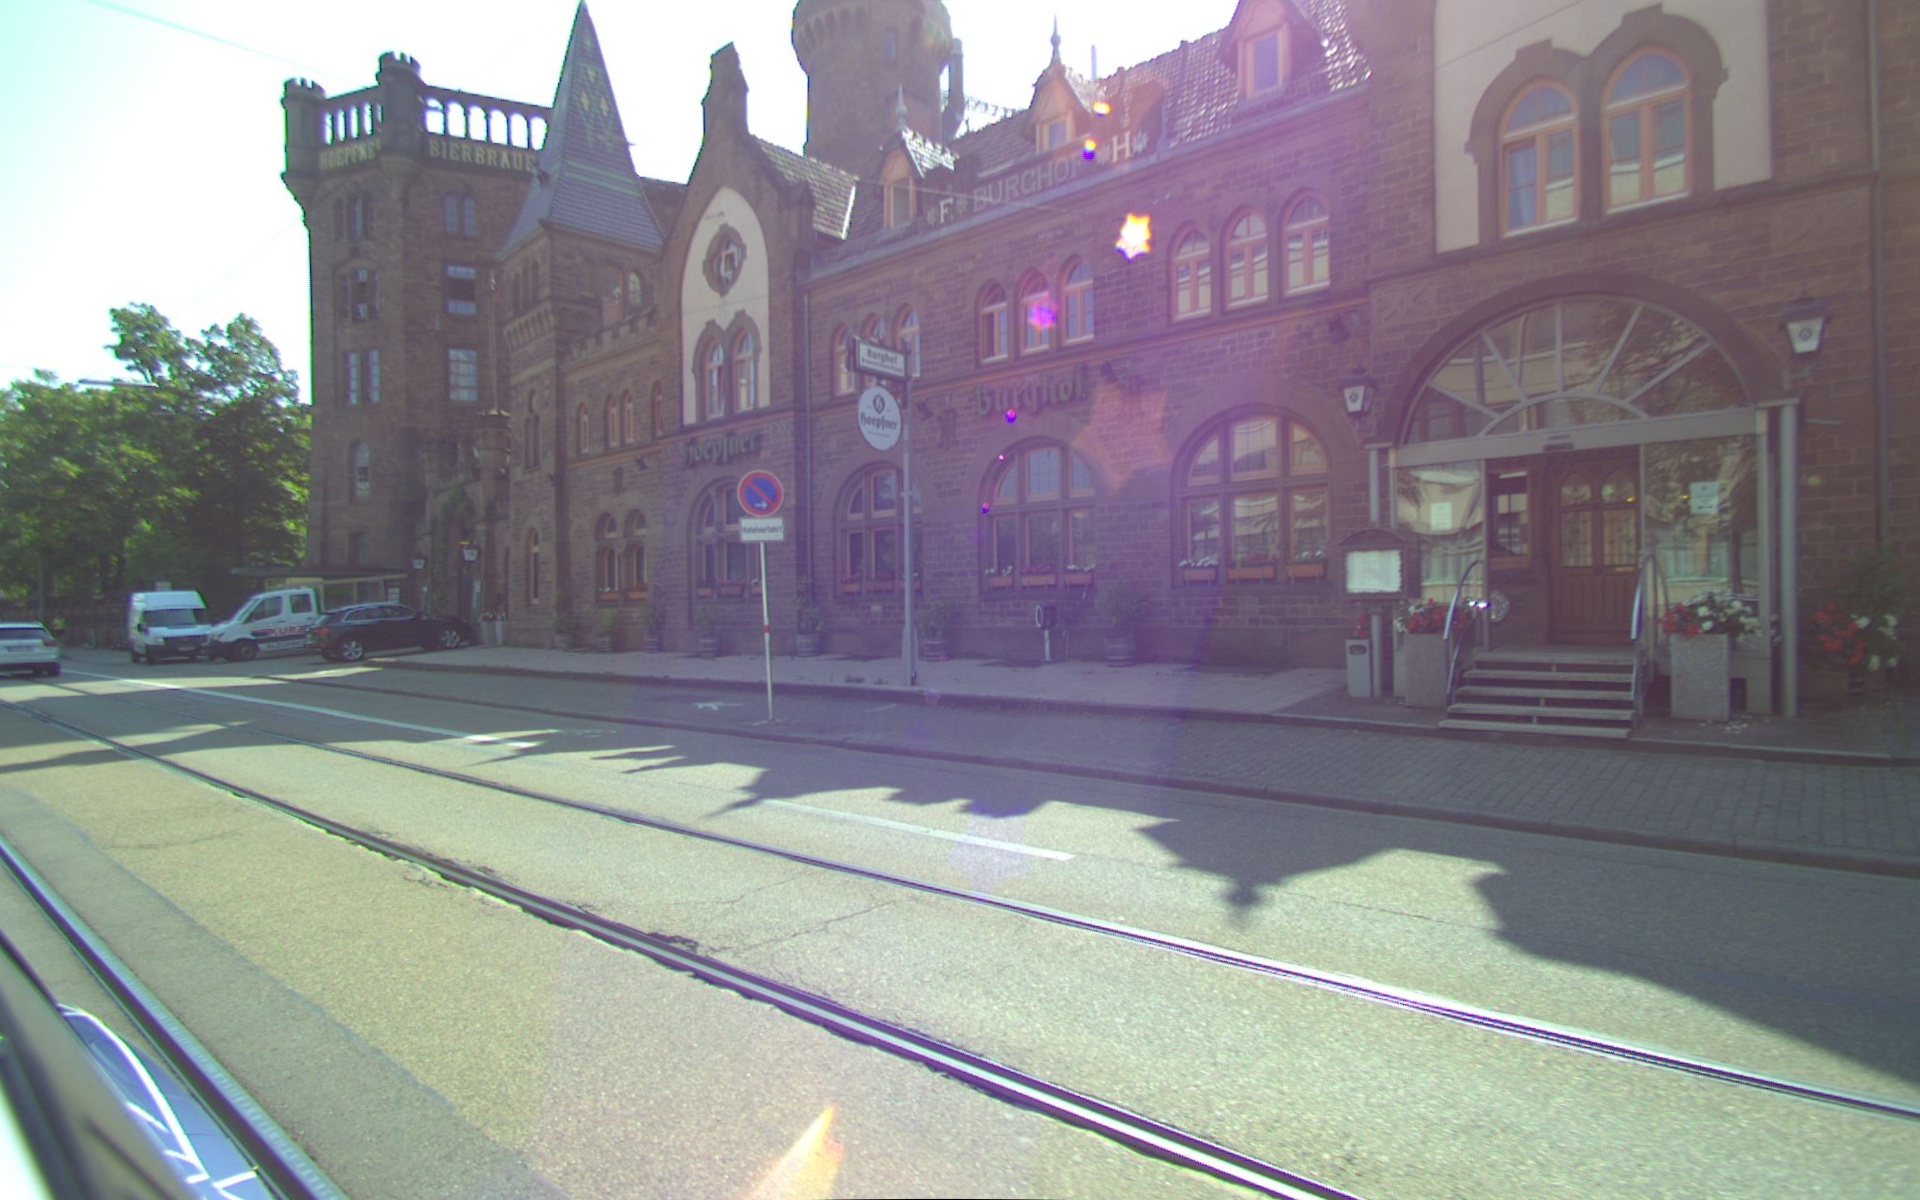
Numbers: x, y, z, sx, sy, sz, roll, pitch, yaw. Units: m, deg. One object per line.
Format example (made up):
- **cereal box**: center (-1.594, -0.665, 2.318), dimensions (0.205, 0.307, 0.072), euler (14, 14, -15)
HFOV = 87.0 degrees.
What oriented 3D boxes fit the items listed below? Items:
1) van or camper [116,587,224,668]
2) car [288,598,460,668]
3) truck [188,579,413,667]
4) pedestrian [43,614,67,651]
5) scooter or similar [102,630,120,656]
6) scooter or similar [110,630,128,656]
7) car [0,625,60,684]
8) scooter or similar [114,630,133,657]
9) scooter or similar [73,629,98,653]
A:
- **van or camper**: center (-28.777, 0.982, 36.784), dimensions (5.954, 2.695, 2.090), euler (-2, -1, 42)
- **car**: center (-17.997, 0.962, 31.202), dimensions (1.999, 1.756, 4.093), euler (-2, 2, 41)
- **truck**: center (-23.213, 0.738, 35.846), dimensions (6.249, 2.557, 2.132), euler (-5, 1, -45)
- **pedestrian**: center (-50.302, 1.821, 56.256), dimensions (0.982, 2.029, 0.855), euler (-2, -1, 39)
- **scooter or similar**: center (-40.137, 2.037, 47.863), dimensions (0.334, 1.187, 1.182), euler (-1, 0, -24)
- **scooter or similar**: center (-39.198, 2.009, 47.160), dimensions (0.334, 1.187, 1.182), euler (-1, 0, -24)
- **car**: center (-26.501, 1.483, 28.022), dimensions (4.865, 1.503, 1.827), euler (-2, -1, 42)
- **scooter or similar**: center (-38.354, 1.982, 46.404), dimensions (0.334, 1.187, 1.182), euler (-1, 0, -24)
- **scooter or similar**: center (-43.592, 2.050, 50.440), dimensions (1.309, 1.187, 0.418), euler (-2, -1, 26)
